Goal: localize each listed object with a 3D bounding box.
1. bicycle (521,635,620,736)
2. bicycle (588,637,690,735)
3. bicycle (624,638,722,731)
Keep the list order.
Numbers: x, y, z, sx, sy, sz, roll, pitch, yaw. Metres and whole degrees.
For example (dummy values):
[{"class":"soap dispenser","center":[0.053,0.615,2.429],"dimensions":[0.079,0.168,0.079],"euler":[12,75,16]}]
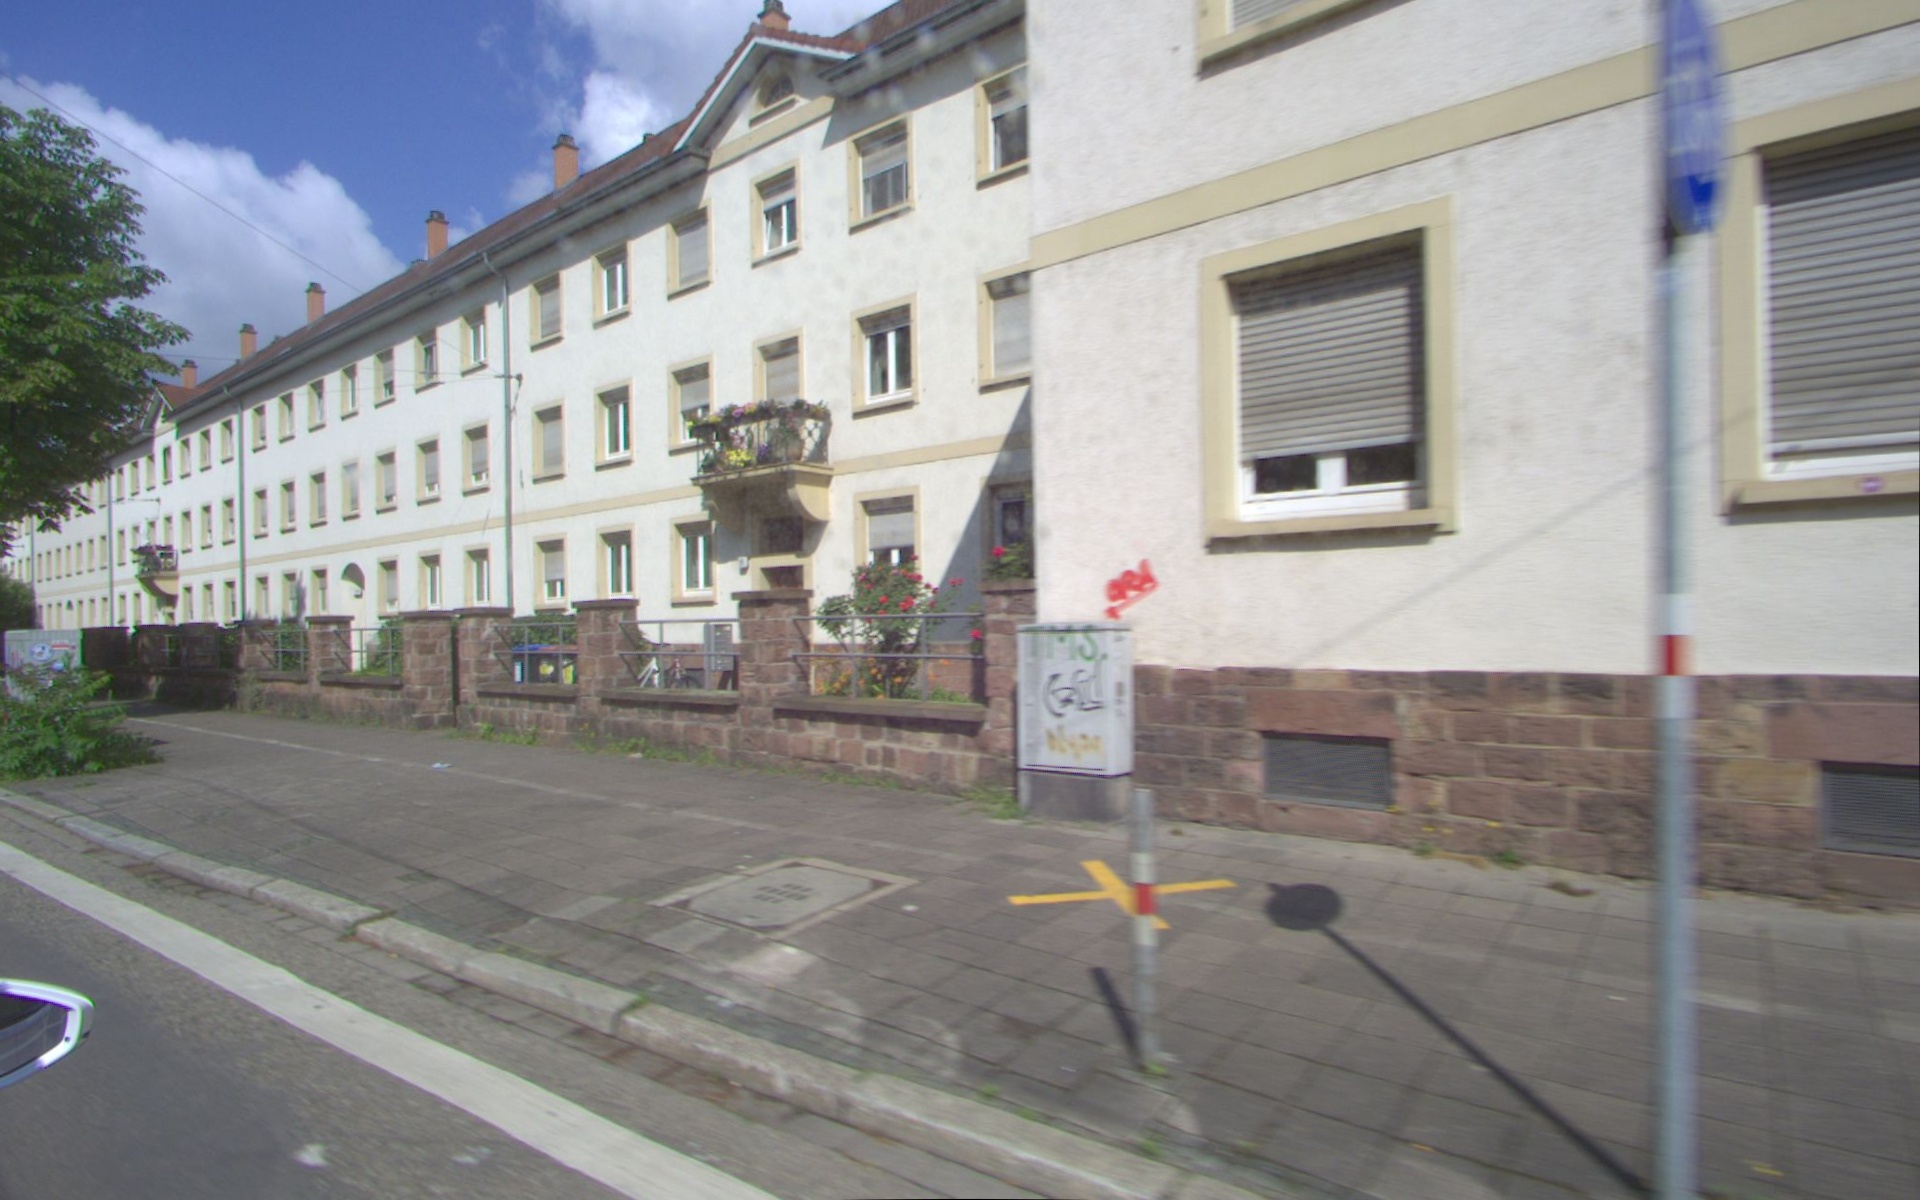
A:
[{"class":"bicycle","center":[-4.981,1.062,12.767],"dimensions":[1.472,1.216,0.503],"euler":[-1,-1,38]},{"class":"bicycle","center":[-4.212,1.090,13.116],"dimensions":[1.471,1.216,0.503],"euler":[-1,-1,36]},{"class":"bicycle","center":[-3.970,1.133,13.799],"dimensions":[1.471,1.216,0.503],"euler":[-1,-1,36]}]
